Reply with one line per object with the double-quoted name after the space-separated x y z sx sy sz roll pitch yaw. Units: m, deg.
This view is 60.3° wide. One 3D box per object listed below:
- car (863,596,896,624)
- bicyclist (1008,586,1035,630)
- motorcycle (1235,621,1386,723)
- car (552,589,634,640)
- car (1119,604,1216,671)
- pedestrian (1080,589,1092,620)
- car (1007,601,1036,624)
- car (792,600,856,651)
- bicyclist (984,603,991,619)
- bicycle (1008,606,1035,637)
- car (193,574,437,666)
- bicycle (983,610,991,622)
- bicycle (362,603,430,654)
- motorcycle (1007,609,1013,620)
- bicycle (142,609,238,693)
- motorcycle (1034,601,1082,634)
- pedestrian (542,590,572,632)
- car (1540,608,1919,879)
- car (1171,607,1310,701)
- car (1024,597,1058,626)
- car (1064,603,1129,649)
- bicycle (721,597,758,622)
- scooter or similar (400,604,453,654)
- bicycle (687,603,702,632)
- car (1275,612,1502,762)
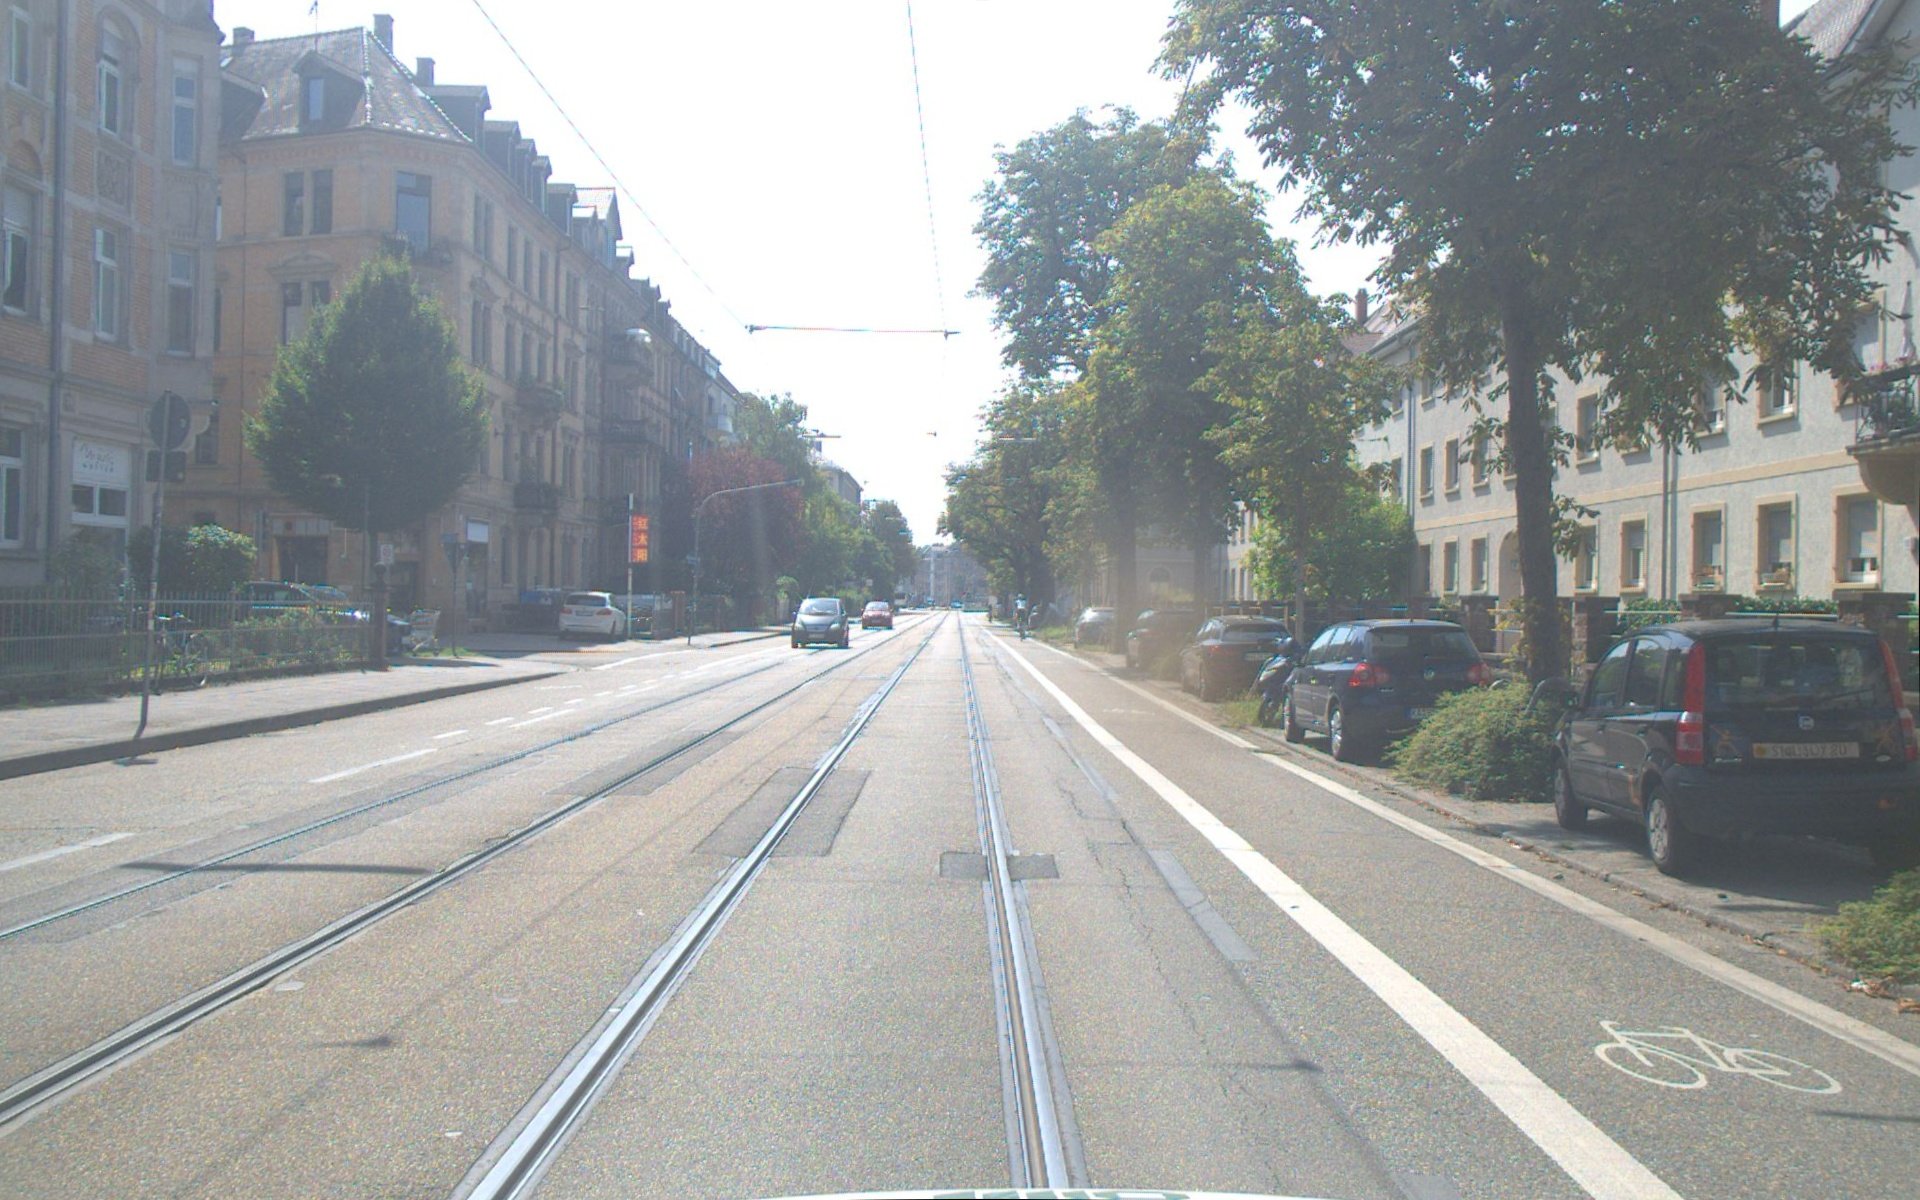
-4.579 0.565 94.208 1.696 1.516 3.999 1 0 -1 "car"
2.638 0.350 70.894 1.102 1.869 0.956 1 -1 0 "bicyclist"
4.968 1.017 23.517 1.963 1.392 0.782 1 0 -3 "motorcycle"
-12.161 0.467 55.058 1.954 1.622 4.356 1 0 -4 "car"
5.004 0.870 40.380 1.720 1.503 4.385 1 0 -1 "car"
8.064 0.280 105.777 0.692 1.925 0.714 1 -1 1 "pedestrian"
4.263 0.830 114.581 1.803 1.559 4.779 0 0 -1 "car"
-4.413 0.809 54.175 1.790 1.567 3.999 1 0 -1 "car"
2.310 0.940 139.754 0.567 1.301 0.471 1 -1 2 "bicyclist"
2.633 0.906 71.091 1.124 1.291 2.712 1 0 1 "bicycle"
-12.694 0.377 32.725 4.017 1.622 1.879 2 0 1 "car"
2.306 1.349 139.759 0.575 0.955 2.172 1 -1 2 "bicycle"
-12.828 0.647 37.612 1.427 1.118 0.388 2 0 -23 "bicycle"
5.029 1.509 167.232 0.537 1.086 2.330 1 -1 0 "motorcycle"
-10.319 0.666 22.216 0.382 1.056 1.833 1 0 1 "bicycle"
4.839 0.888 81.900 2.304 1.567 0.963 -2 -3 41 "motorcycle"
-15.010 0.403 61.616 0.874 1.537 0.861 1 0 -31 "pedestrian"
5.218 0.838 11.370 1.582 1.557 3.501 0 0 6 "car"
4.981 0.914 29.921 1.719 1.503 4.457 -2 0 0 "car"
4.765 0.664 97.784 1.803 1.559 4.115 1 1 -1 "car"
4.793 0.882 58.668 1.854 1.503 4.840 1 0 -1 "car"
-11.558 0.509 86.797 1.775 1.202 0.717 3 -1 2 "bicycle"
-12.552 0.668 38.953 0.583 1.118 1.390 2 0 10 "scooter or similar"
-10.353 0.682 64.505 0.382 1.118 1.568 1 0 -2 "bicycle"
4.825 0.916 19.163 1.584 1.503 4.039 0 0 0 "car"
